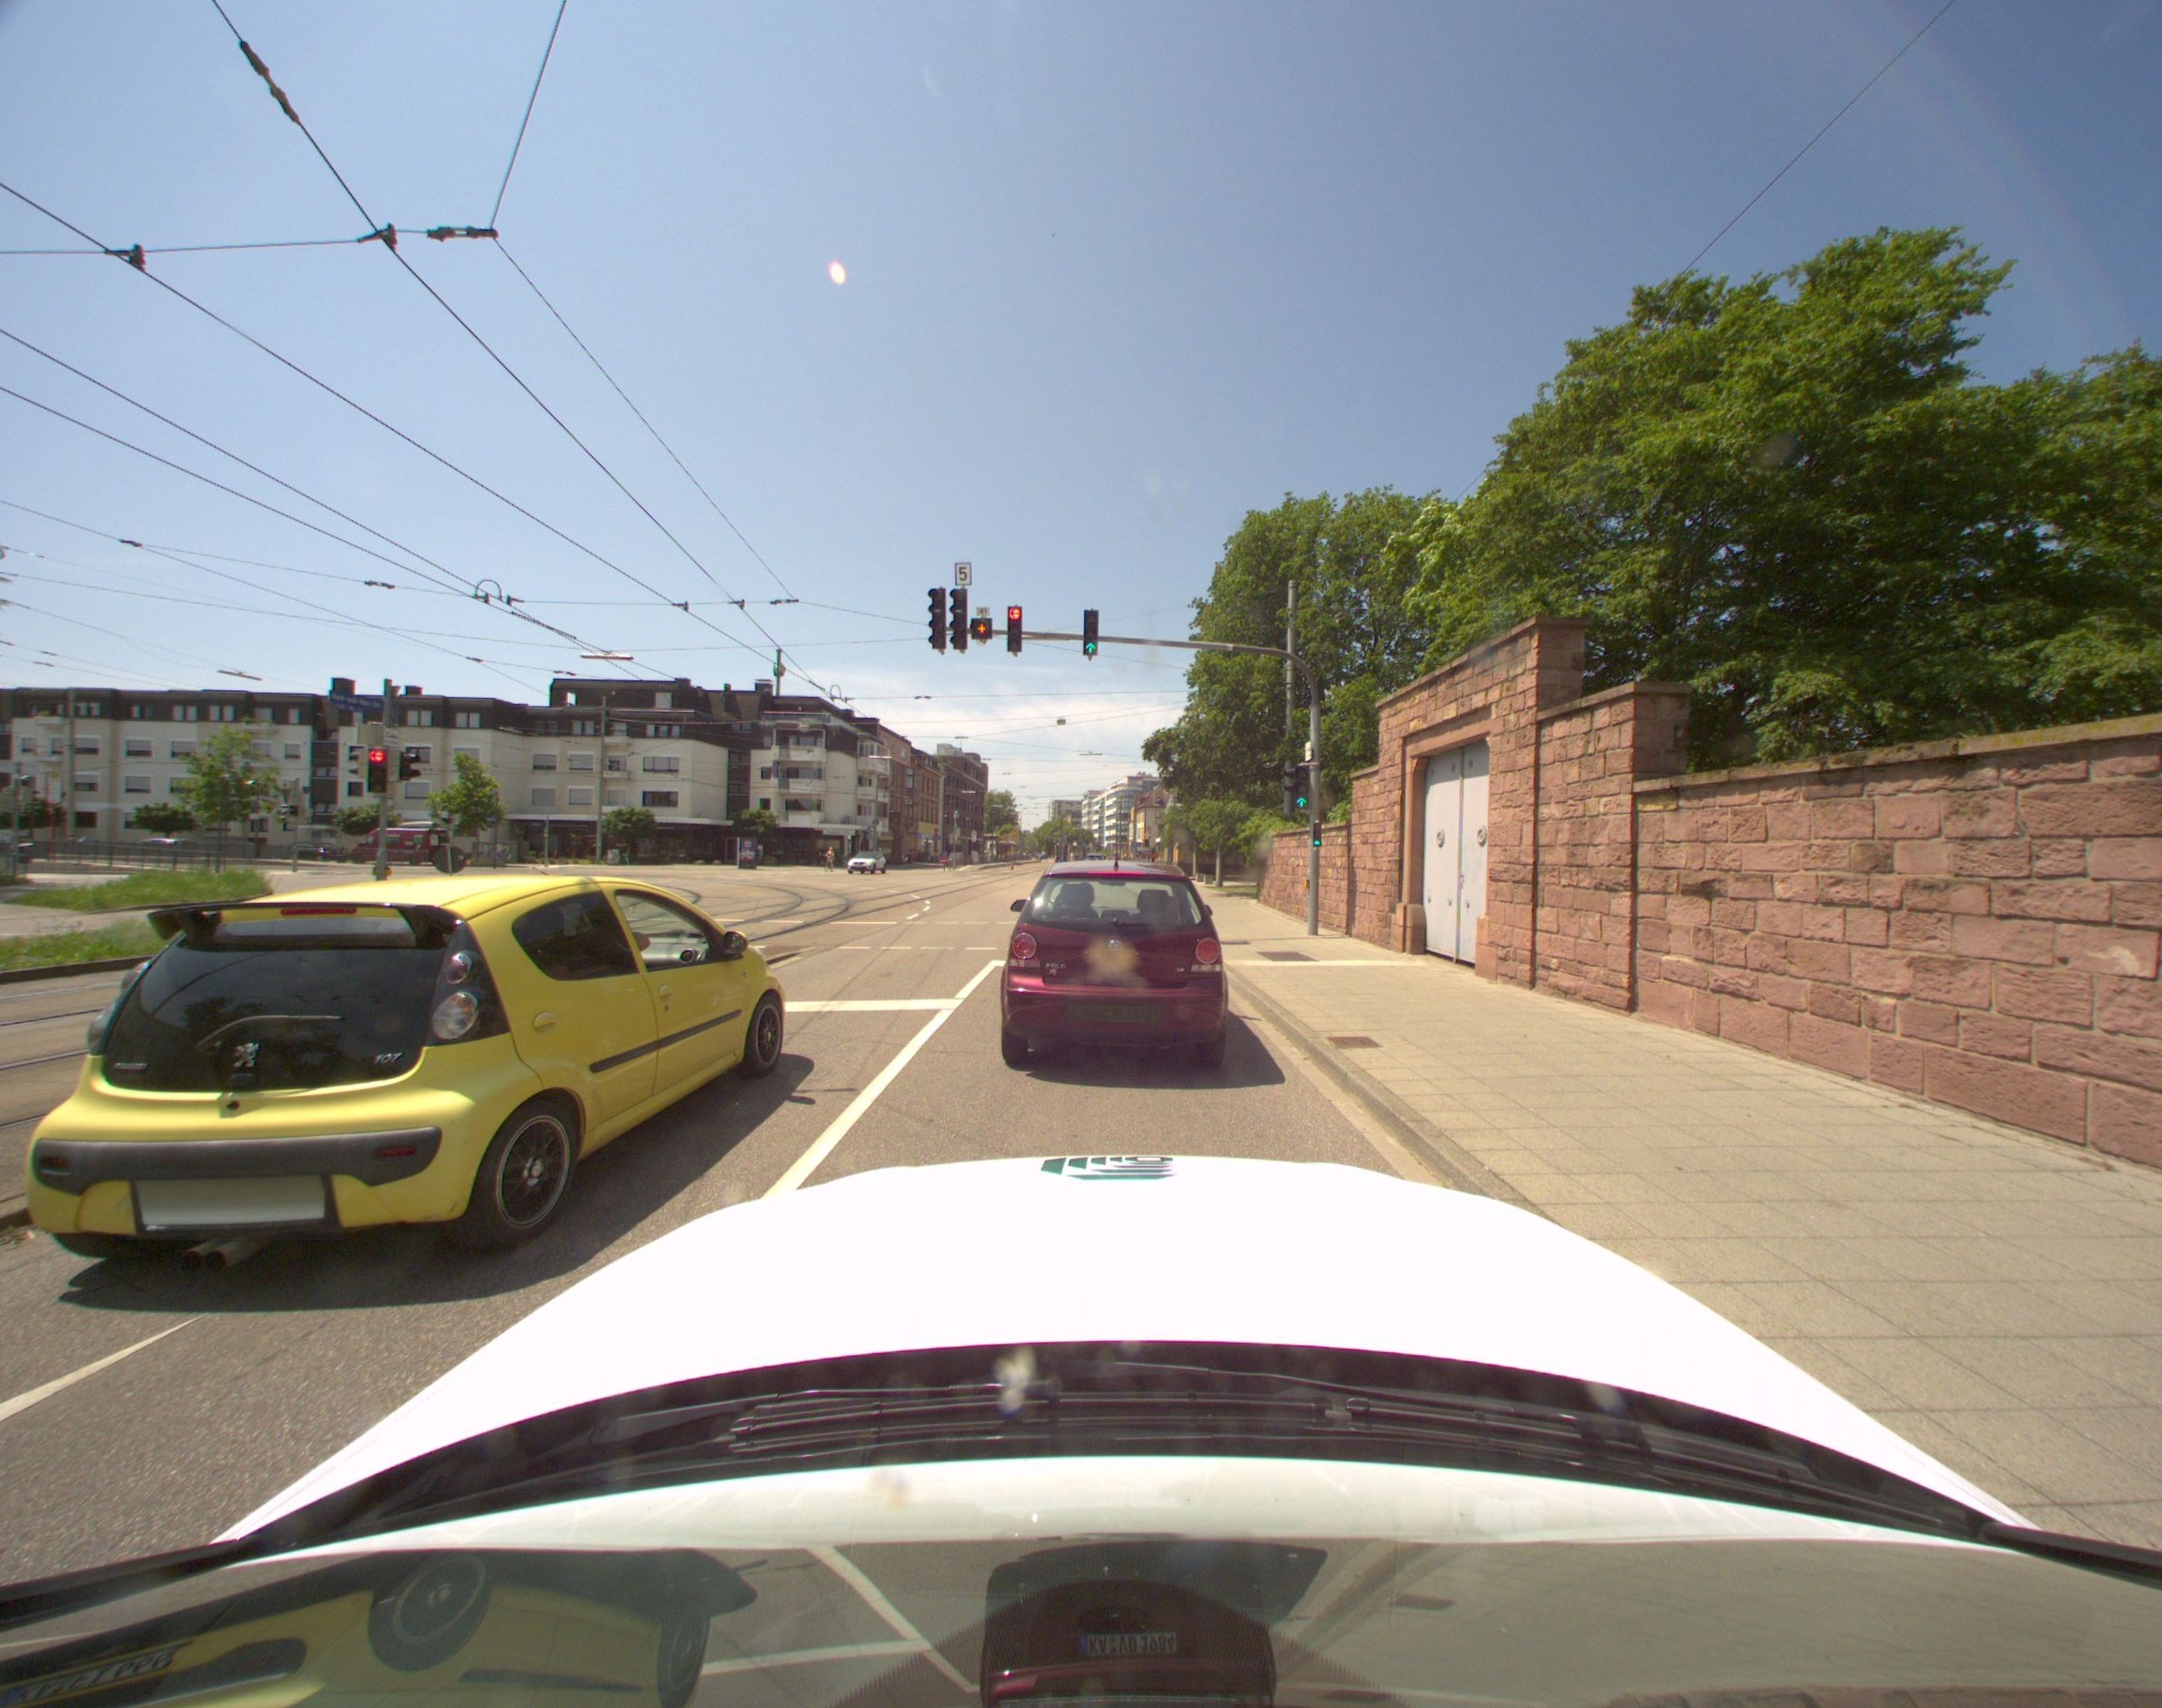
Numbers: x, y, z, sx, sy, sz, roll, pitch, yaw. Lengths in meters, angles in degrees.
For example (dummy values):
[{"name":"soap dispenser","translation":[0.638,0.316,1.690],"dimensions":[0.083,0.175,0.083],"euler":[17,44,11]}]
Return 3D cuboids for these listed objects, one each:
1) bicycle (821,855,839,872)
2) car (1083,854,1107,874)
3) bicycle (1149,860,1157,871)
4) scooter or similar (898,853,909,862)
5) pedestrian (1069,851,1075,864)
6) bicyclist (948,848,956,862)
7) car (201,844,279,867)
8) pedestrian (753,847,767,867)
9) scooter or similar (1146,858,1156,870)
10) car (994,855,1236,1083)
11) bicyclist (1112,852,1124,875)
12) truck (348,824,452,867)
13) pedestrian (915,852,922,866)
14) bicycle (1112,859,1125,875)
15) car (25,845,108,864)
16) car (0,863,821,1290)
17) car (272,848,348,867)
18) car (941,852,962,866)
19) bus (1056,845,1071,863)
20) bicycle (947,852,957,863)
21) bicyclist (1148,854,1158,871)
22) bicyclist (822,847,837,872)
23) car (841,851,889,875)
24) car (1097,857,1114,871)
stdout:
[{"name":"bicycle","translation":[-18.446,0.701,59.783],"dimensions":[0.692,1.149,1.932],"euler":[1,1,1]},{"name":"car","translation":[1.163,0.866,71.053],"dimensions":[1.987,1.624,4.631],"euler":[1,0,0]},{"name":"bicycle","translation":[7.247,1.179,81.941],"dimensions":[0.666,1.002,1.864],"euler":[-3,1,0]},{"name":"scooter or similar","translation":[-20.116,0.375,92.504],"dimensions":[0.484,1.082,1.584],"euler":[1,0,18]},{"name":"pedestrian","translation":[-1.174,0.453,108.879],"dimensions":[0.760,1.674,1.101],"euler":[1,0,2]},{"name":"bicyclist","translation":[-15.913,0.135,100.712],"dimensions":[0.729,1.762,1.135],"euler":[1,0,2]},{"name":"car","translation":[-55.924,0.098,54.193],"dimensions":[3.556,1.433,1.591],"euler":[1,0,2]},{"name":"pedestrian","translation":[-27.328,0.244,69.411],"dimensions":[0.693,1.696,0.812],"euler":[1,0,25]},{"name":"scooter or similar","translation":[7.242,1.027,84.211],"dimensions":[0.340,1.178,1.457],"euler":[1,0,-22]},{"name":"car","translation":[0.244,0.752,6.833],"dimensions":[1.556,1.453,3.062],"euler":[1,0,1]},{"name":"bicyclist","translation":[2.959,0.738,64.960],"dimensions":[0.721,1.760,0.929],"euler":[1,0,22]},{"name":"truck","translation":[-45.276,-0.566,54.214],"dimensions":[5.007,2.698,2.188],"euler":[1,0,1]},{"name":"pedestrian","translation":[-18.417,0.558,92.075],"dimensions":[0.612,1.560,0.640],"euler":[1,0,1]},{"name":"bicycle","translation":[3.001,1.021,64.887],"dimensions":[0.372,1.197,1.915],"euler":[1,0,22]},{"name":"car","translation":[-67.750,0.028,54.402],"dimensions":[3.556,1.240,1.591],"euler":[1,0,2]},{"name":"car","translation":[-2.911,0.783,4.639],"dimensions":[1.610,1.421,3.656],"euler":[-1,-1,1]},{"name":"car","translation":[-51.394,0.225,54.352],"dimensions":[3.556,1.219,1.591],"euler":[1,0,2]},{"name":"car","translation":[-14.293,0.566,89.978],"dimensions":[1.619,1.484,3.829],"euler":[1,0,0]},{"name":"bus","translation":[-3.029,0.021,143.903],"dimensions":[2.135,3.003,6.579],"euler":[1,0,3]},{"name":"bicycle","translation":[-15.930,0.387,100.644],"dimensions":[0.674,1.304,2.106],"euler":[1,0,3]},{"name":"bicyclist","translation":[7.269,0.859,81.968],"dimensions":[0.829,1.618,0.860],"euler":[-3,1,0]},{"name":"bicyclist","translation":[-18.439,0.393,59.702],"dimensions":[0.692,1.765,1.137],"euler":[1,1,1]},{"name":"car","translation":[-14.625,0.580,55.318],"dimensions":[1.986,1.553,4.141],"euler":[1,0,2]},{"name":"car","translation":[2.778,1.106,90.369],"dimensions":[1.816,1.530,4.002],"euler":[1,0,2]}]
